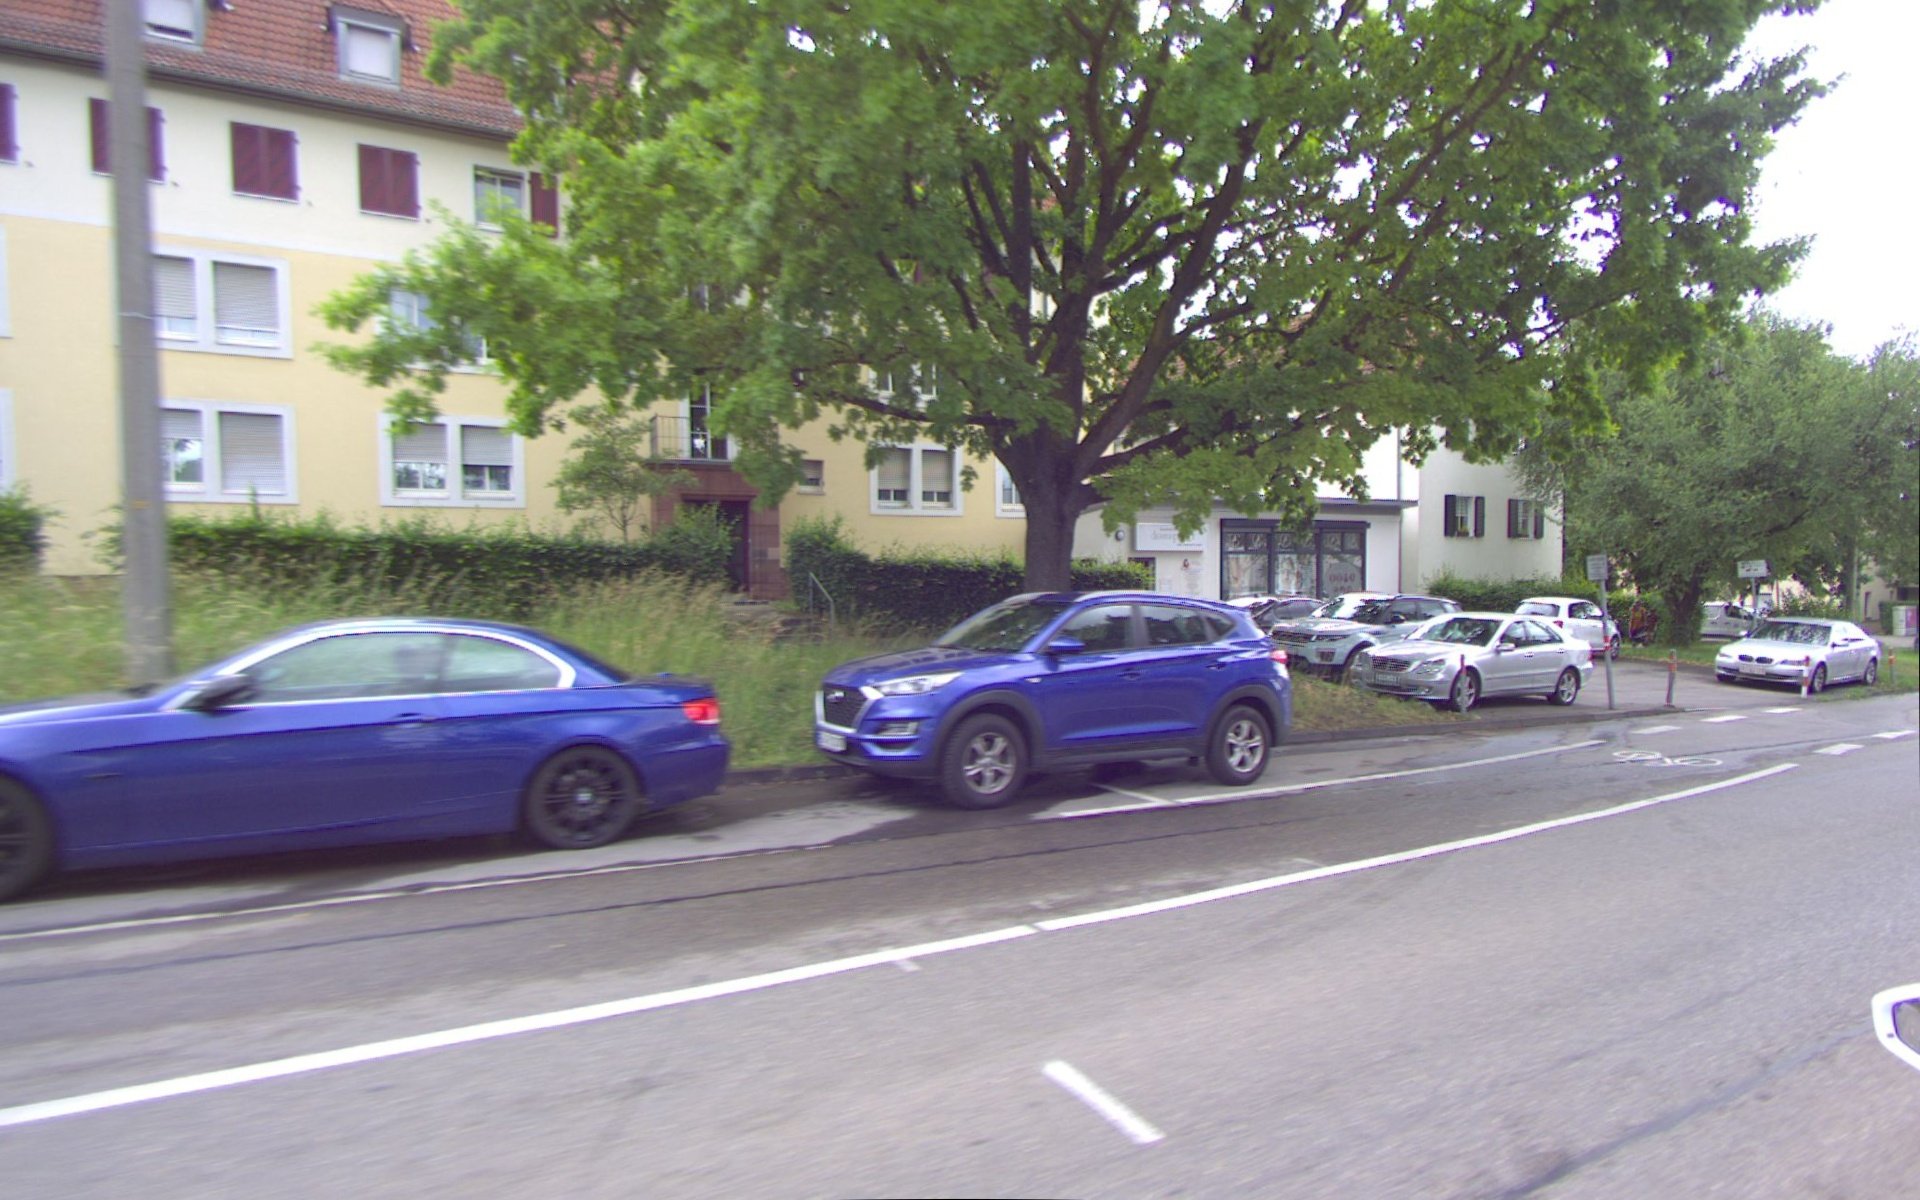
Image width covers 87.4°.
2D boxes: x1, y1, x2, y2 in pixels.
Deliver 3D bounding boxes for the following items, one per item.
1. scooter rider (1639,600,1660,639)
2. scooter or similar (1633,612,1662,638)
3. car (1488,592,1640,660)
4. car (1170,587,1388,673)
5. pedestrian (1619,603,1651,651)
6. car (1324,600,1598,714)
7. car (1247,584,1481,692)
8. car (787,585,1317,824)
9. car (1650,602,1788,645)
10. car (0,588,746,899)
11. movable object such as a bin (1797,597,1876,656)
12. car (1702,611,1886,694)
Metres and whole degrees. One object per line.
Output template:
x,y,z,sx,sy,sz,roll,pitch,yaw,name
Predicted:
23.217,0.646,33.836,0.553,1.293,0.349,1,1,-32,scooter rider
23.127,0.835,33.783,1.188,0.854,0.324,1,1,-32,scooter or similar
16.126,0.677,26.766,4.241,1.655,1.751,1,1,-33,car
6.522,0.587,20.416,4.391,1.490,1.751,1,3,-32,car
23.729,0.939,35.325,0.822,1.635,0.625,1,1,-35,pedestrian
7.983,0.844,15.925,4.339,1.556,1.753,1,1,-30,car
7.255,0.648,17.994,3.952,1.655,1.753,1,3,-30,car
0.908,0.710,8.779,4.482,1.634,1.706,0,1,-31,car
37.017,1.110,49.122,1.979,1.837,4.961,1,1,-34,car
-3.643,0.686,6.031,4.288,1.408,1.706,1,0,-31,car
30.377,0.921,34.814,2.992,1.929,1.210,1,1,-32,movable object such as a bin
18.892,1.134,22.694,4.699,1.655,1.752,1,1,-32,car
